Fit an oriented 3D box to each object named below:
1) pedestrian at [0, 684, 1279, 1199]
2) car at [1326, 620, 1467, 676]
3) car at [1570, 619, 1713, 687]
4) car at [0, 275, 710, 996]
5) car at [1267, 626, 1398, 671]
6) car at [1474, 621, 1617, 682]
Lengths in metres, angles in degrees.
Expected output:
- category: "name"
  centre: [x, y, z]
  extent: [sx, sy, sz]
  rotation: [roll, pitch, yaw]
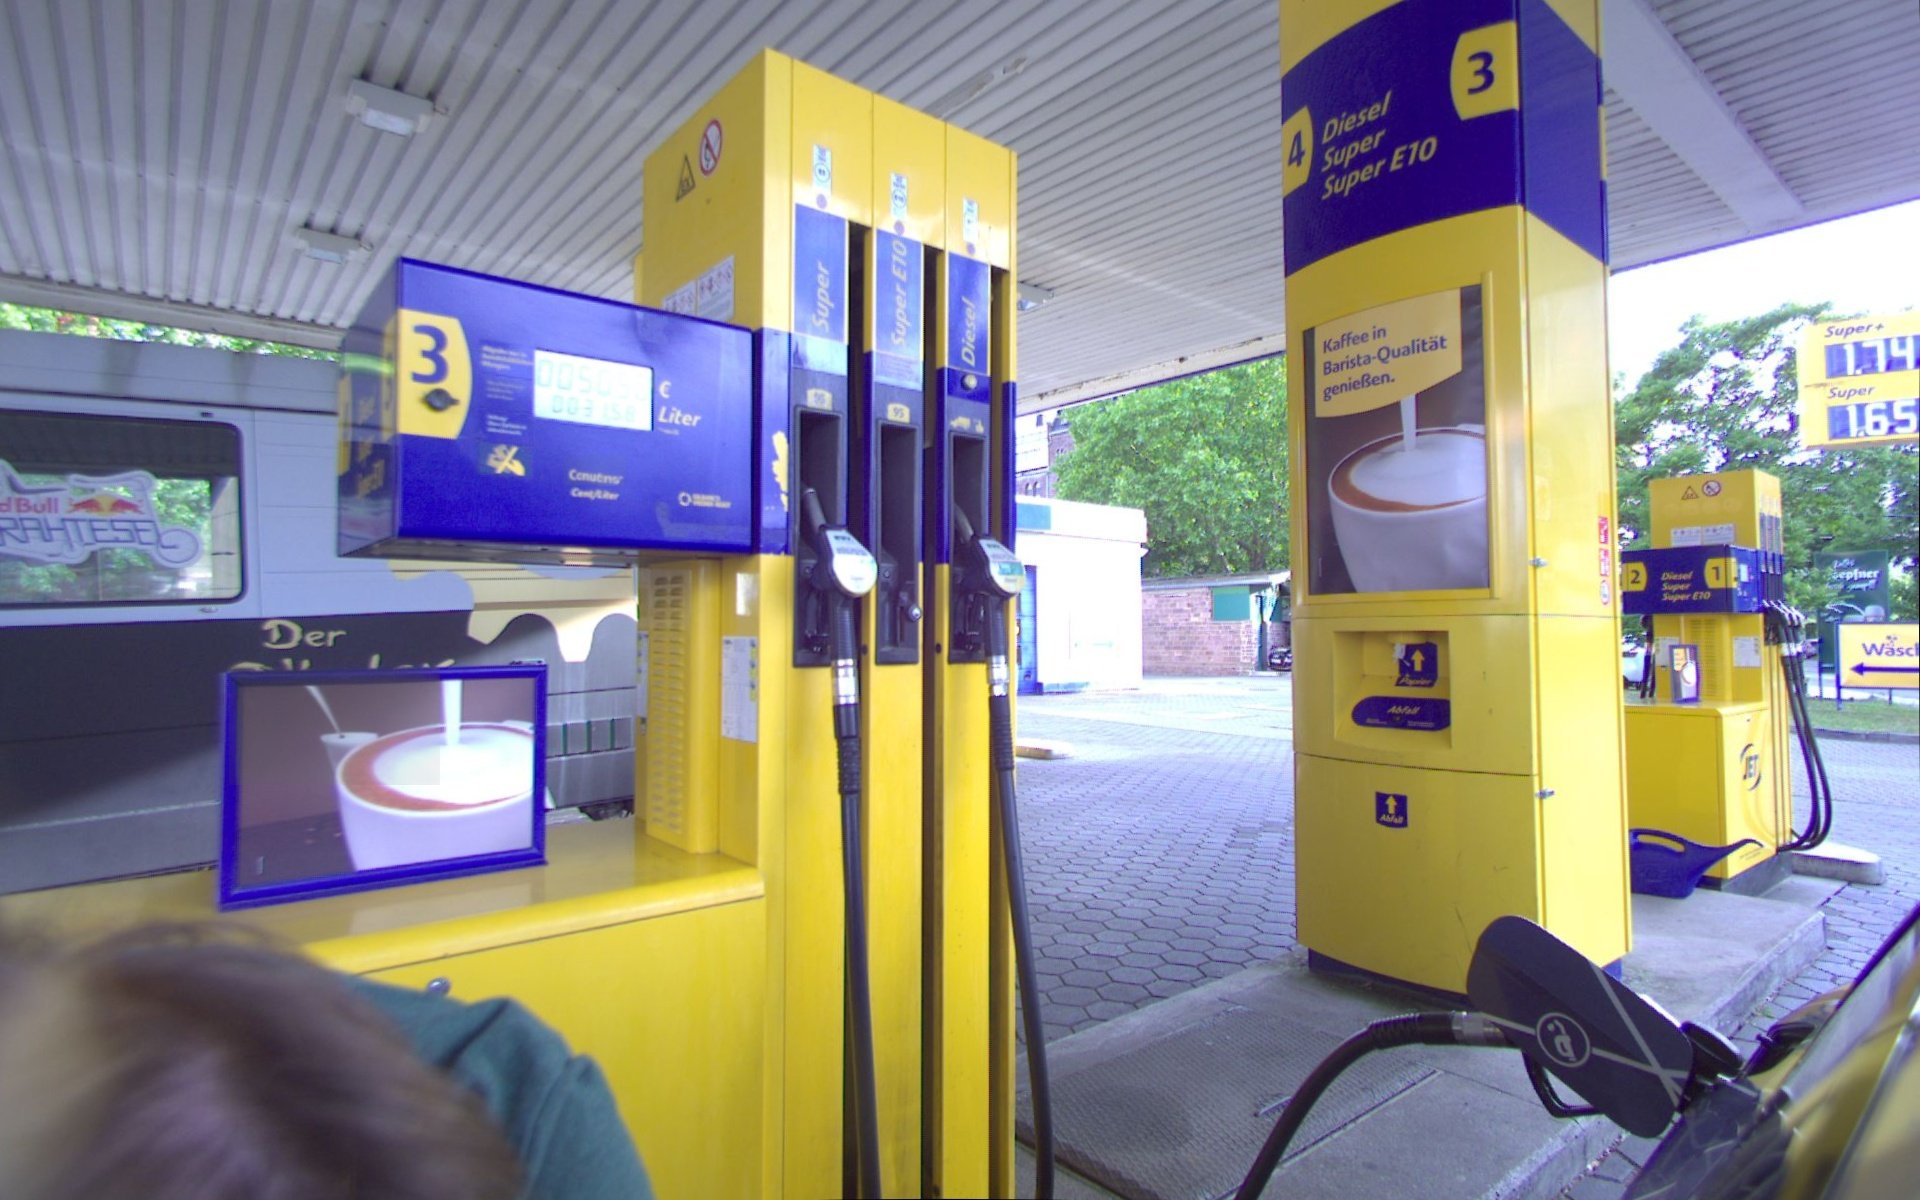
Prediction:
- category: "pedestrian"
  centre: [-0.336, 0.742, 0.550]
  extent: [0.662, 1.298, 0.751]
  rotation: [0, 0, -41]
- category: "car"
  centre: [13.885, 1.522, 32.141]
  extent: [4.303, 1.622, 1.777]
  rotation: [2, -1, -28]
- category: "car"
  centre: [18.354, 1.439, 27.207]
  extent: [4.308, 1.622, 1.774]
  rotation: [4, -4, -35]
- category: "car"
  centre: [-4.111, 0.152, 4.897]
  extent: [5.197, 2.726, 2.258]
  rotation: [1, -2, -39]
- category: "car"
  centre: [12.688, 1.645, 34.432]
  extent: [4.303, 1.393, 1.777]
  rotation: [2, -1, -28]
- category: "car"
  centre: [17.844, 1.582, 30.806]
  extent: [4.303, 1.622, 1.776]
  rotation: [4, -4, -28]
